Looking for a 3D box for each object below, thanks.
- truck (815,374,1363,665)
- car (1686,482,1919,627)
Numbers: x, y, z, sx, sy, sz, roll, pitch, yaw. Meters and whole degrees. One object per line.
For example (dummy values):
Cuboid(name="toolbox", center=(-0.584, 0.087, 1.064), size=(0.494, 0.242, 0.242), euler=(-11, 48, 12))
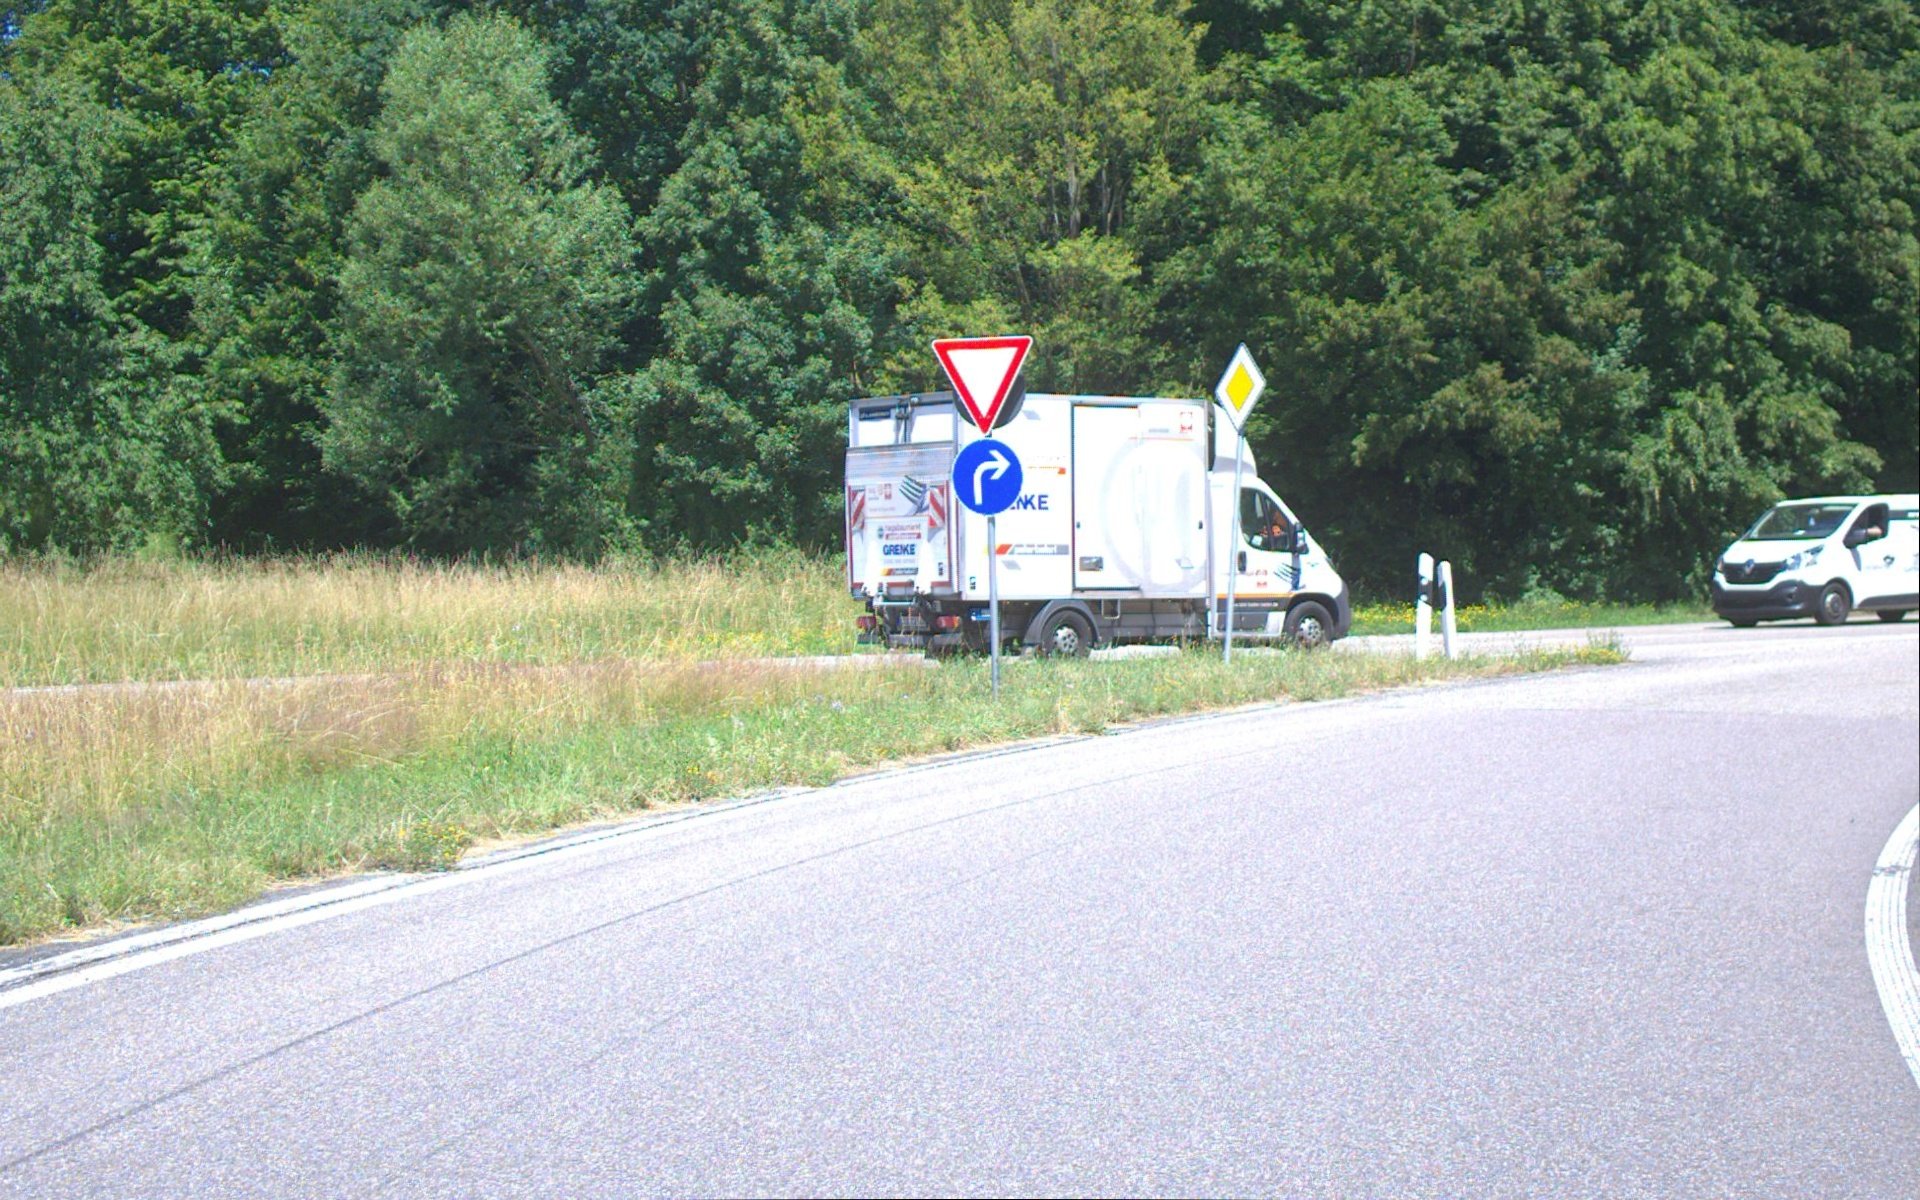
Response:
Cuboid(name="truck", center=(1.483, -0.881, 37.732), size=(5.876, 2.974, 2.247), euler=(-1, 1, -37))
Cuboid(name="car", center=(13.483, -0.727, 51.781), size=(5.378, 1.954, 1.914), euler=(-4, 2, -38))
